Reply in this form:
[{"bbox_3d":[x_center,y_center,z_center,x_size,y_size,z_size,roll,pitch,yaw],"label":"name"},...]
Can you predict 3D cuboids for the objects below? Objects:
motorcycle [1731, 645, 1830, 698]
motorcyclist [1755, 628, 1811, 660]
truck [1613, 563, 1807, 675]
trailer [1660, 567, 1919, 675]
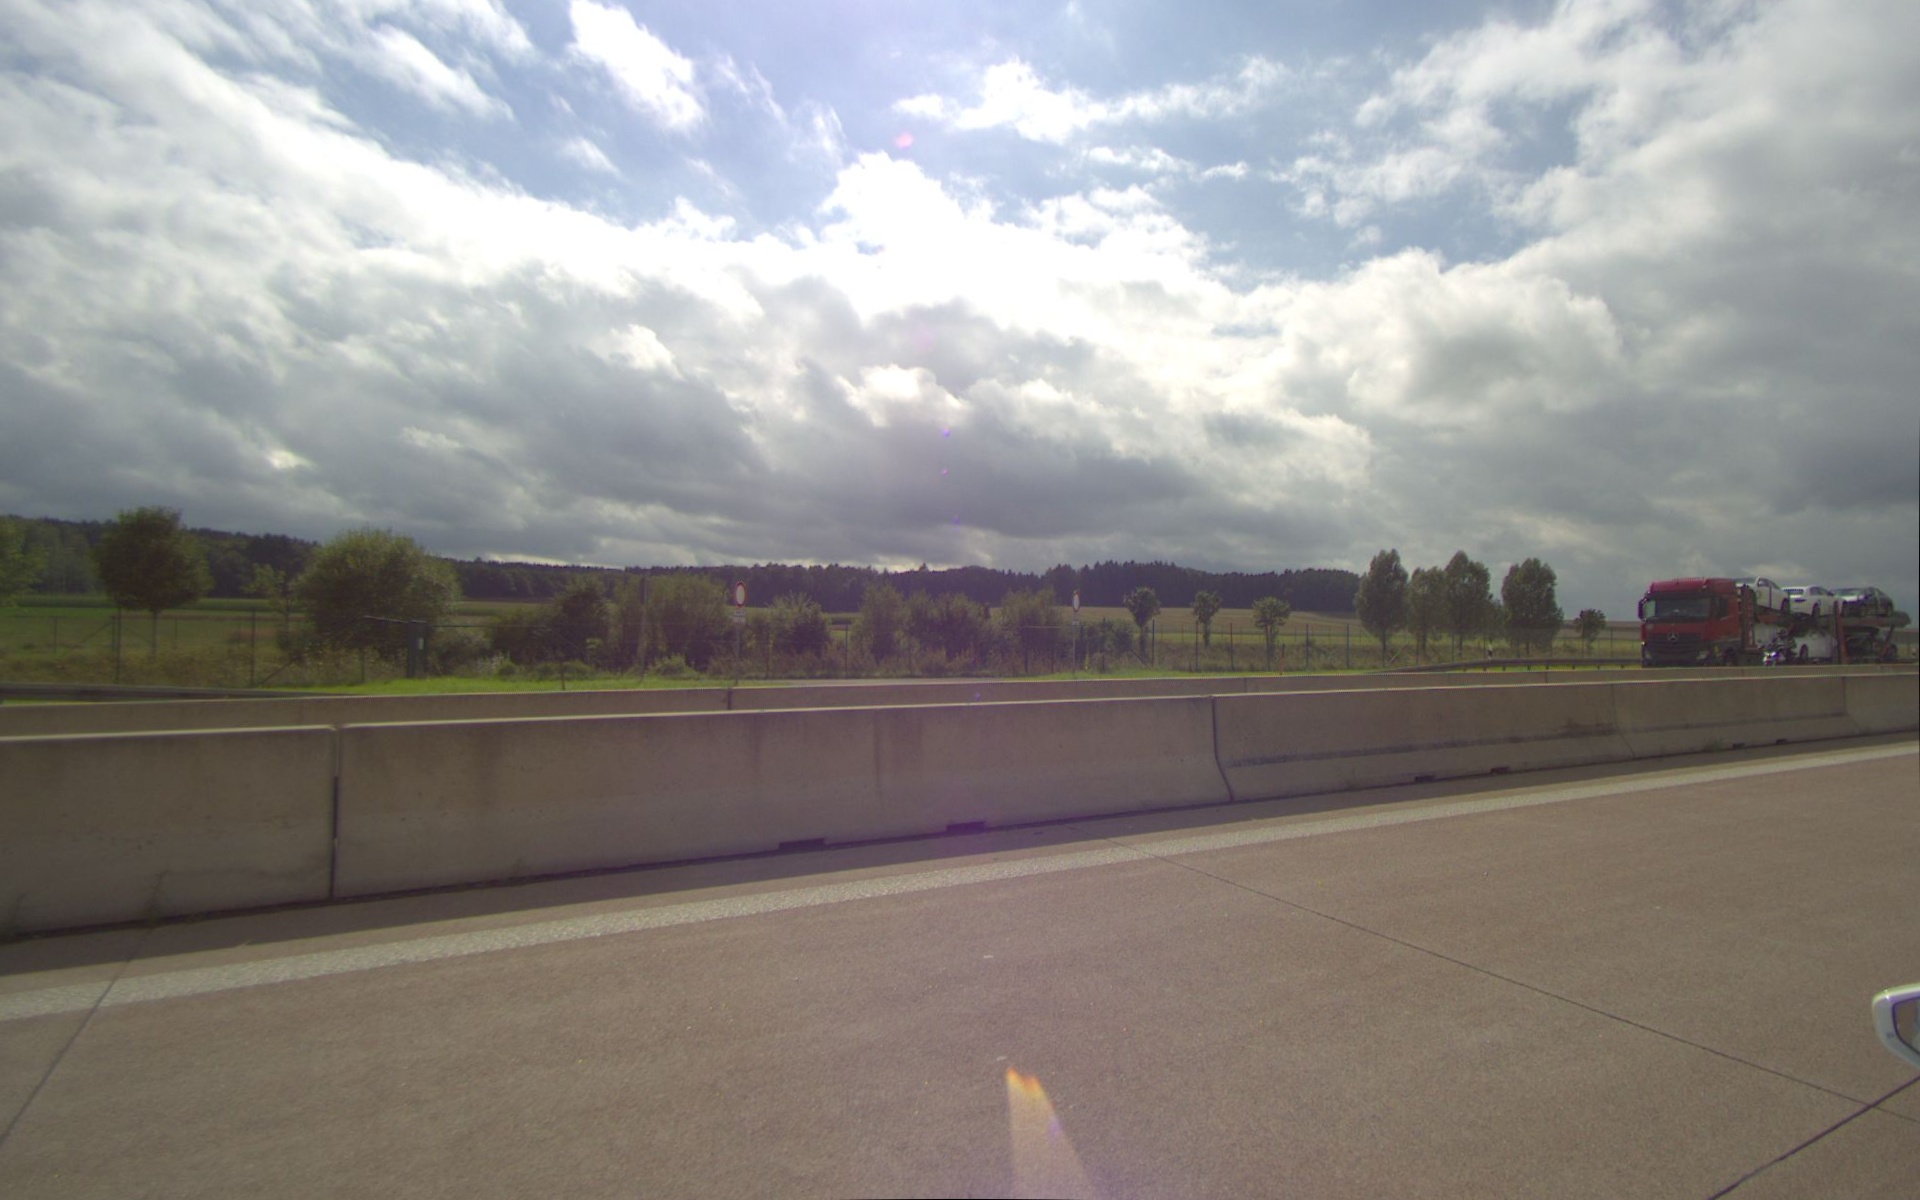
[{"bbox_3d":[26.463,2.262,32.402,2.807,1.563,1.547,2,0,-29],"label":"motorcycle"},{"bbox_3d":[26.592,1.417,32.459,0.829,0.961,1.180,1,0,-29],"label":"motorcyclist"},{"bbox_3d":[29.297,0.751,39.158,7.636,4.031,3.180,2,0,-29],"label":"truck"},{"bbox_3d":[35.970,0.948,42.958,16.128,4.031,3.180,2,0,-29],"label":"trailer"}]
